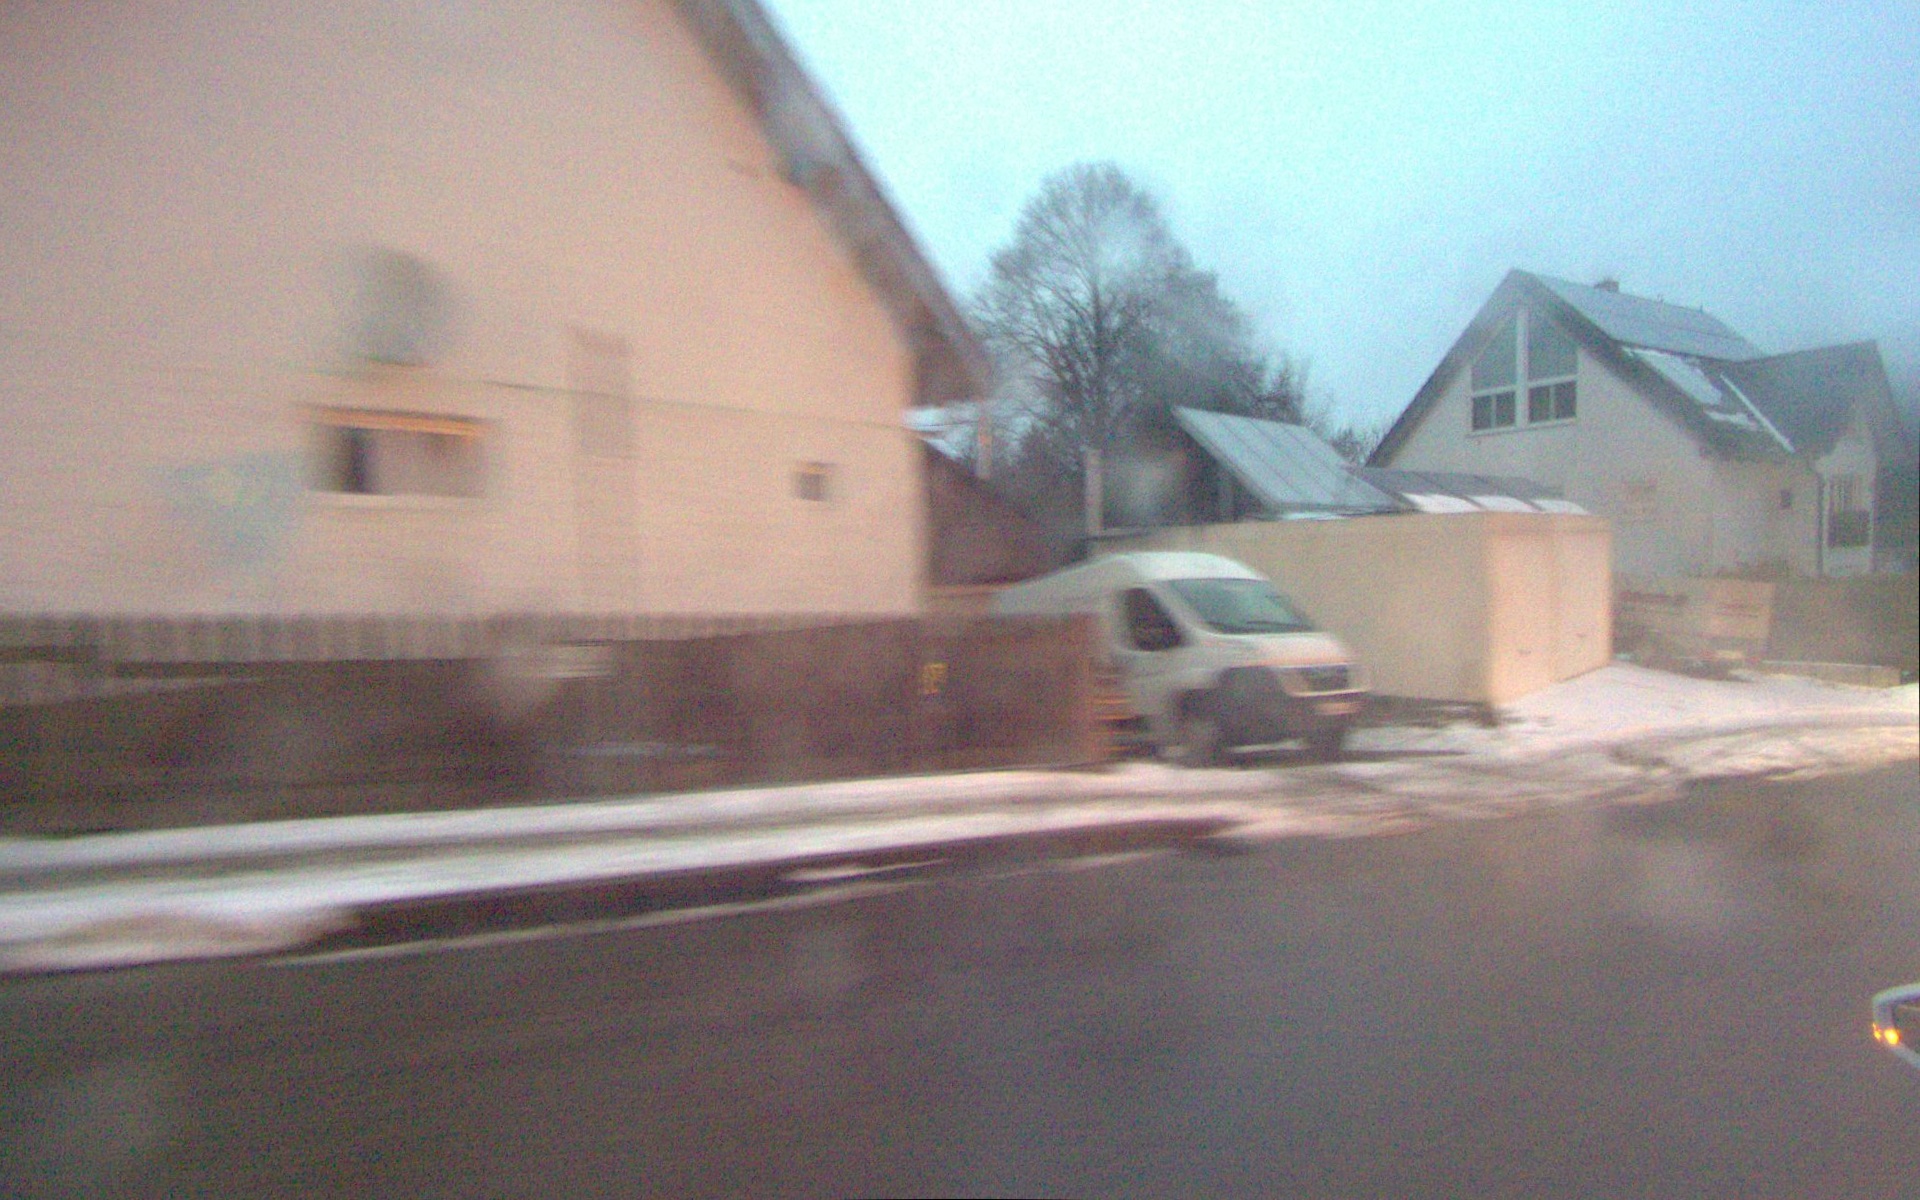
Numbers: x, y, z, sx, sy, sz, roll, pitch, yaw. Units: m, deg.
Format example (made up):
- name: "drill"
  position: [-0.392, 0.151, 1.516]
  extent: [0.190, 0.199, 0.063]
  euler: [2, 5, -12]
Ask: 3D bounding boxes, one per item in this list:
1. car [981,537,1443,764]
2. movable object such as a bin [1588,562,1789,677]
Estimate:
- name: "car"
  position: [2.572, 0.450, 11.816]
  extent: [2.189, 2.040, 5.235]
  euler: [3, 0, -30]
- name: "movable object such as a bin"
  position: [12.130, 0.276, 16.879]
  extent: [1.414, 1.671, 2.368]
  euler: [1, 5, -6]
